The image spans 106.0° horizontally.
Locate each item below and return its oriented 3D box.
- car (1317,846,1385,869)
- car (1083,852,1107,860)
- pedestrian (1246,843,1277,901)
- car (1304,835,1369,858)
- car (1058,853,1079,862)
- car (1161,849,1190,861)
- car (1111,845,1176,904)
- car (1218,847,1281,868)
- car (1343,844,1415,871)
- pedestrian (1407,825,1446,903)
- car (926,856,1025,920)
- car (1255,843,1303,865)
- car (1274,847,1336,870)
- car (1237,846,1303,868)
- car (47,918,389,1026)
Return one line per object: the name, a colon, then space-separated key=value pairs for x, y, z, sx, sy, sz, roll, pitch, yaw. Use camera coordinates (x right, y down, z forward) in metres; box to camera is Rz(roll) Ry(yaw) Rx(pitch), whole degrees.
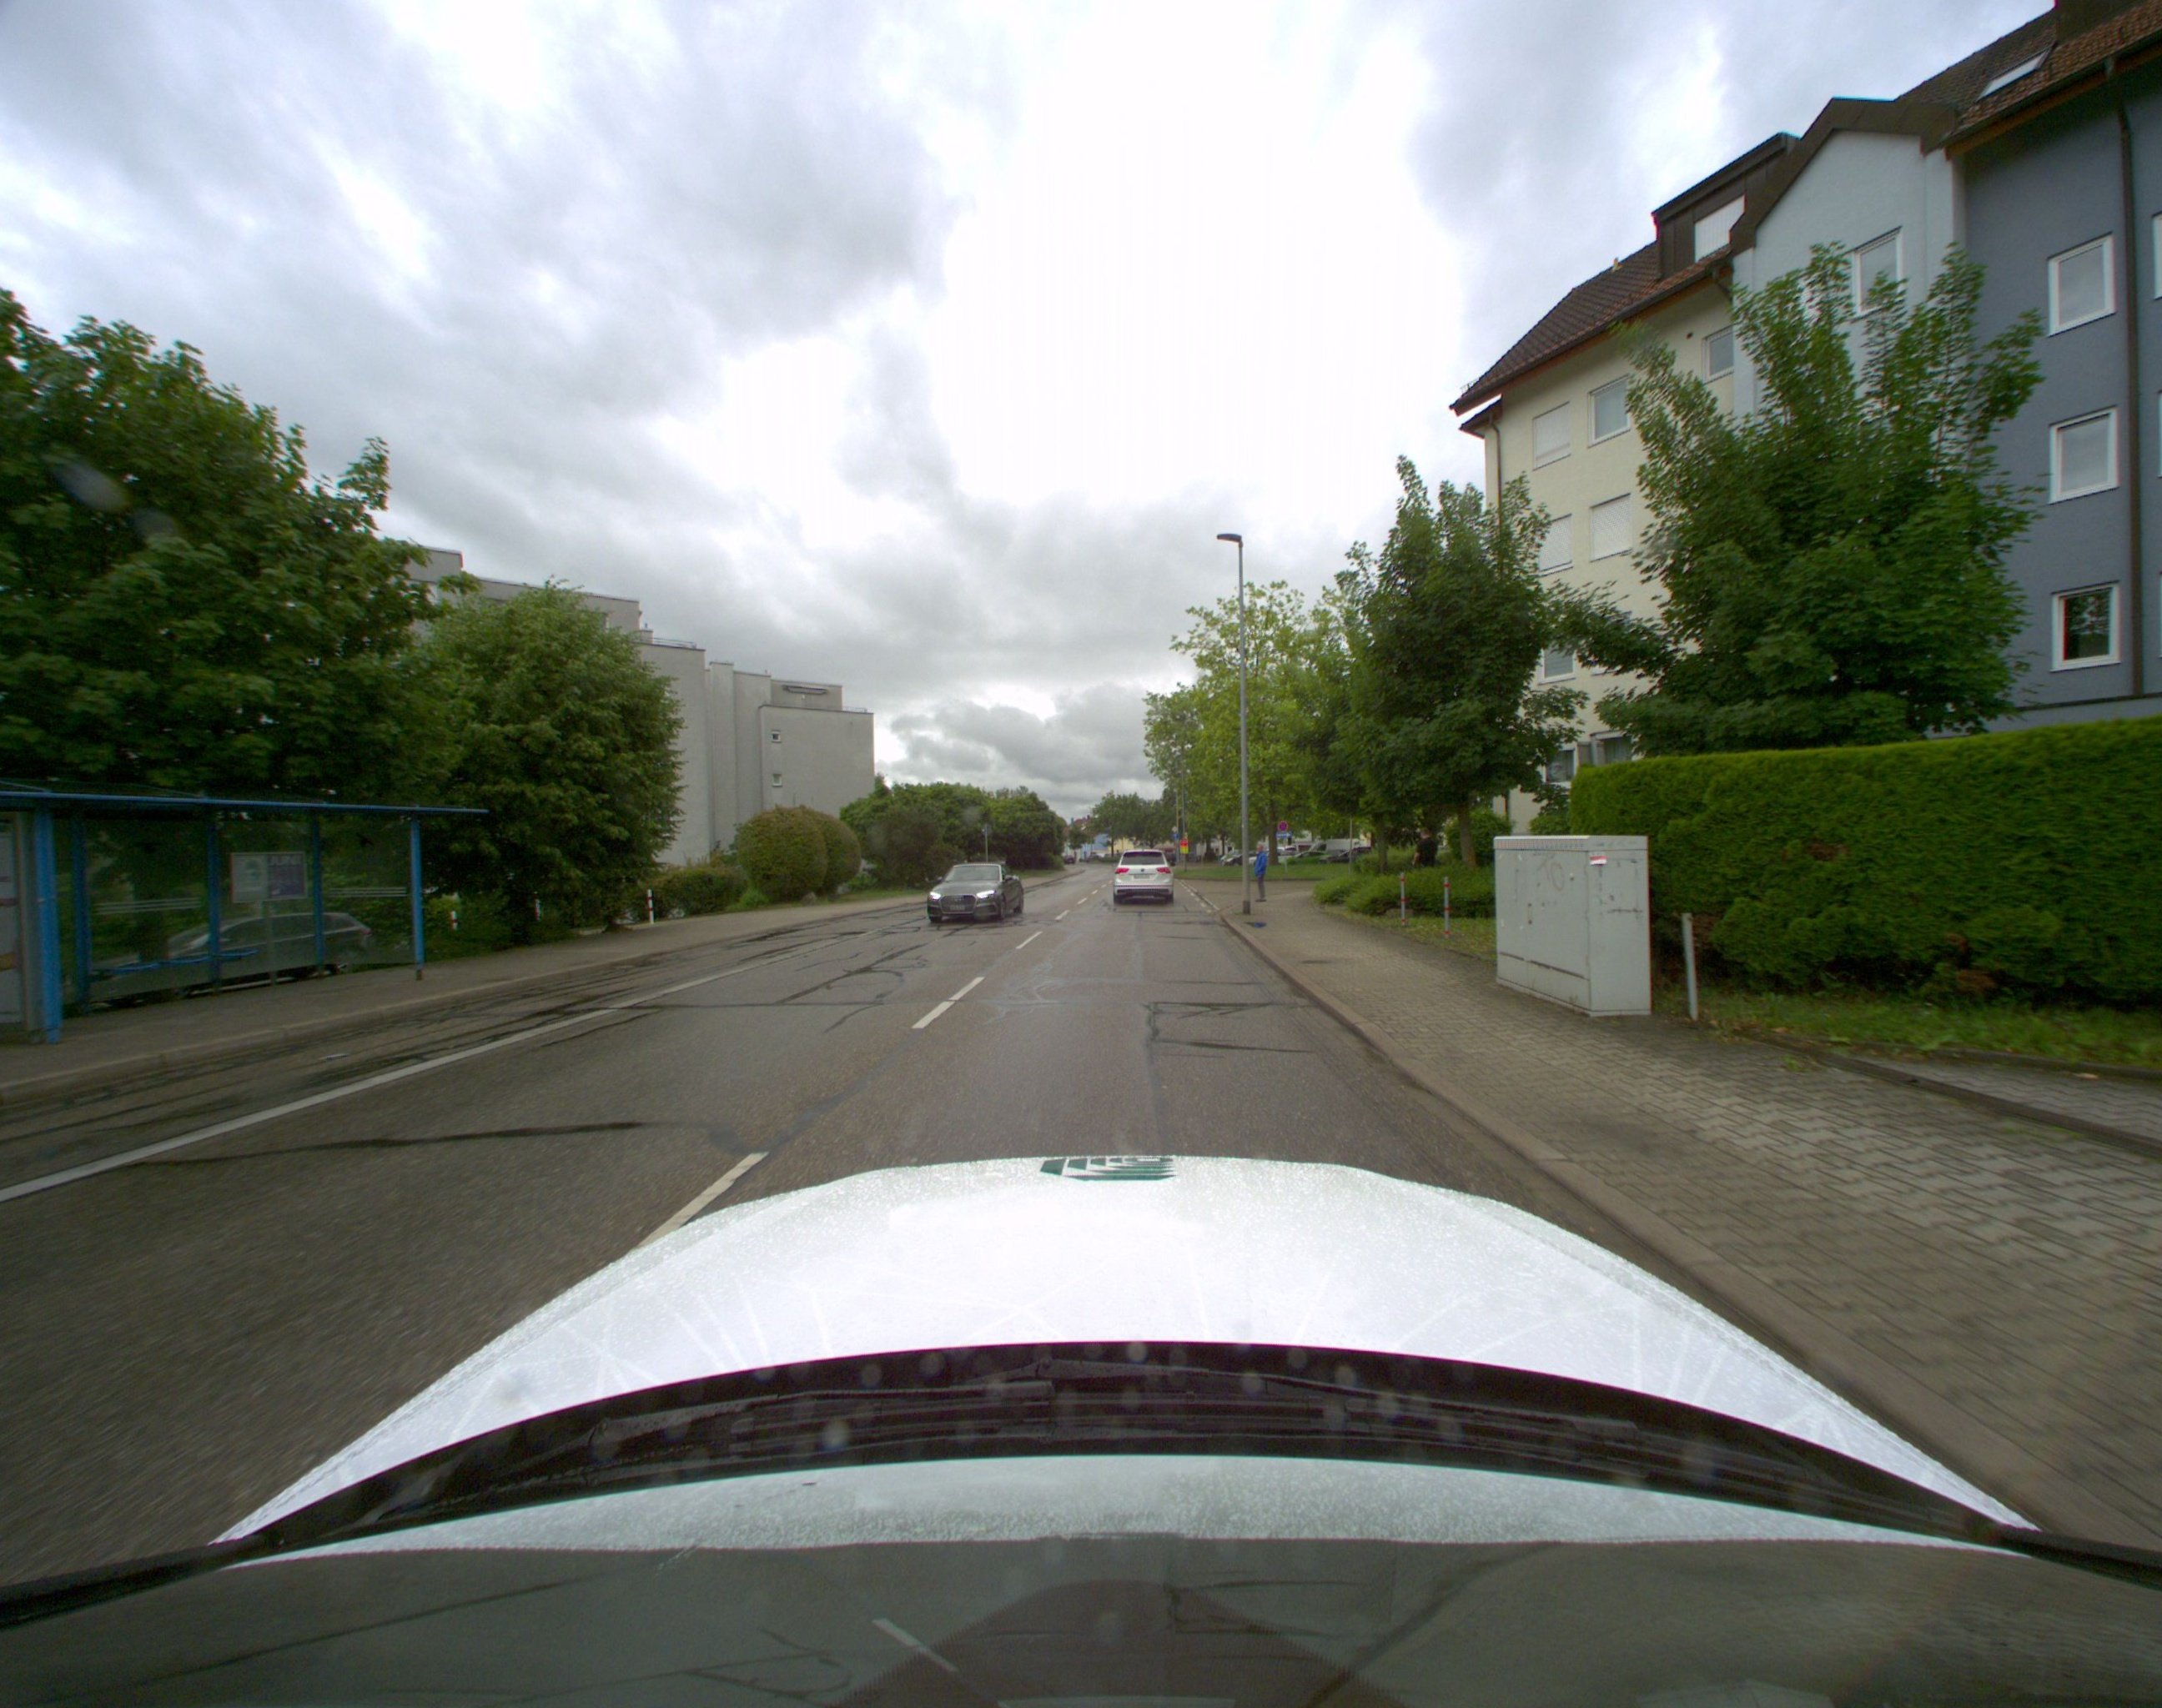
car: x=18.508 y=0.231 z=55.919 sx=3.998 sy=1.371 sz=1.763 roll=-2 pitch=0 yaw=-1
car: x=2.557 y=0.420 z=145.145 sx=4.016 sy=1.387 sz=1.657 roll=-1 pitch=0 yaw=-35
pedestrian: x=5.277 y=0.506 z=23.846 sx=0.590 sy=1.666 sz=0.772 roll=-1 pitch=0 yaw=-12
car: x=25.174 y=-0.743 z=80.271 sx=5.813 sy=2.013 sz=1.996 roll=-2 pitch=0 yaw=-6
car: x=-1.972 y=0.513 z=129.155 sx=2.002 sy=1.420 sz=3.970 roll=-1 pitch=0 yaw=-22
car: x=14.471 y=0.136 z=124.538 sx=4.014 sy=1.721 sz=1.905 roll=-1 pitch=0 yaw=-32
car: x=2.001 y=0.590 z=25.854 sx=1.856 sy=1.650 sz=4.006 roll=-2 pitch=0 yaw=5
car: x=13.387 y=0.265 z=64.777 sx=4.559 sy=1.443 sz=1.763 roll=-2 pitch=0 yaw=-1
car: x=19.384 y=0.211 z=53.194 sx=4.248 sy=1.626 sz=1.771 roll=-2 pitch=0 yaw=15
pedestrian: x=8.024 y=0.222 z=18.939 sx=0.611 sy=1.772 sz=0.671 roll=-1 pitch=0 yaw=2
car: x=-2.562 y=0.794 z=20.744 sx=1.666 sy=1.443 sz=4.005 roll=-1 pitch=0 yaw=5
car: x=17.987 y=-0.003 z=74.162 sx=2.004 sy=1.881 sz=4.176 roll=-1 pitch=0 yaw=-26
car: x=16.271 y=0.324 z=59.297 sx=3.998 sy=1.443 sz=1.763 roll=-2 pitch=0 yaw=-1
car: x=14.403 y=0.221 z=62.149 sx=4.559 sy=1.443 sz=1.763 roll=-2 pitch=0 yaw=-1
car: x=-16.455 y=2.184 z=15.926 sx=1.983 sy=1.421 sz=4.174 roll=-2 pitch=0 yaw=6
